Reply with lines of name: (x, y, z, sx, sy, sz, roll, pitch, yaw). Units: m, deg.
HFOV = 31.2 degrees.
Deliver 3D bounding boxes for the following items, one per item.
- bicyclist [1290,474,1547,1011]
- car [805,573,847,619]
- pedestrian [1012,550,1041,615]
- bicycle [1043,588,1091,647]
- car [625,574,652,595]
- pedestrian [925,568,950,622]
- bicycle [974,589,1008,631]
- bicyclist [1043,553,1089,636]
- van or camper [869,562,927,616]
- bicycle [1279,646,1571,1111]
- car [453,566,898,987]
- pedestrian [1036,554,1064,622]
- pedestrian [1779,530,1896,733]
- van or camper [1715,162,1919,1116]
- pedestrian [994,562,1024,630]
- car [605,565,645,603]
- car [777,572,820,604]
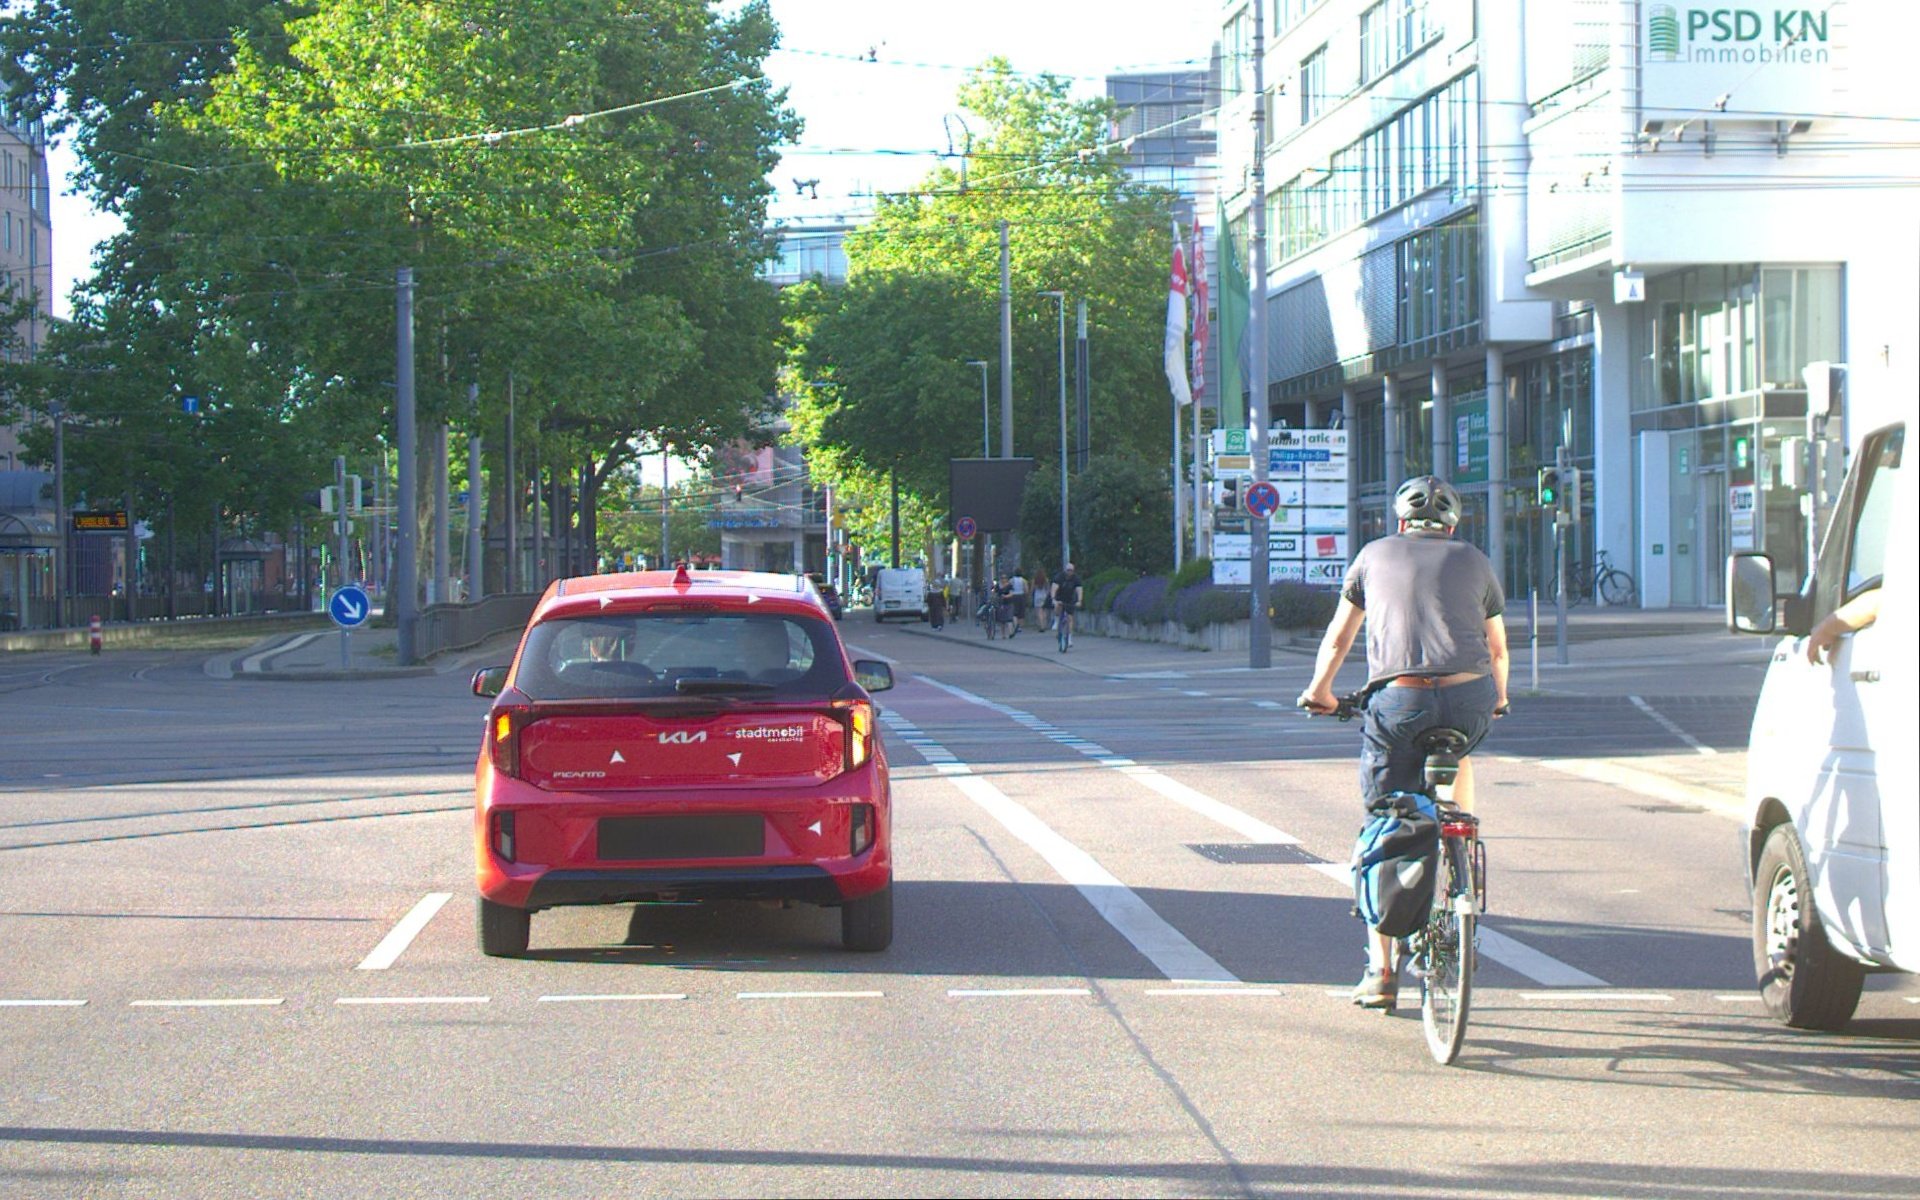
bicyclist: (1.425, 0.421, 10.833, 0.650, 1.597, 1.089, -1, 0, 0)
car: (-5.363, -0.165, 137.683, 1.635, 1.794, 3.330, -1, 1, -2)
pedestrian: (1.782, -0.475, 92.462, 0.564, 1.696, 0.907, -4, 1, -6)
bicycle: (2.136, 0.335, 68.841, 0.696, 1.094, 1.751, -4, 1, -4)
car: (-23.643, -1.115, 252.655, 1.777, 1.529, 3.412, 0, 1, -9)
pedestrian: (-0.671, -0.156, 103.594, 0.642, 1.574, 0.723, -4, 1, -1)
bicycle: (0.773, 0.248, 85.708, 0.520, 0.971, 2.202, -4, 1, -6)
bicyclist: (2.113, -0.115, 68.815, 0.721, 1.597, 1.089, -3, 1, -5)
van or camper: (-2.353, -0.410, 128.749, 1.993, 1.982, 4.745, 0, 0, -3)
bicycle: (1.421, 0.811, 10.817, 0.650, 1.276, 1.966, -1, 1, 0)
car: (-1.160, 0.625, 14.248, 1.613, 1.529, 3.412, 0, 1, -4)
pedestrian: (2.431, -0.334, 93.018, 0.540, 1.790, 0.907, -4, 1, -6)
pedestrian: (8.026, 0.274, 31.478, 0.777, 1.817, 1.216, -1, 0, 2)
van or camper: (3.757, 0.124, 8.799, 1.968, 2.707, 6.305, 0, 1, -3)
pedestrian: (1.220, -0.102, 85.804, 0.646, 1.674, 0.651, -1, 0, -5)
car: (-17.896, -0.862, 183.695, 1.993, 2.007, 4.001, -1, 1, -7)
car: (-8.069, -0.606, 171.841, 1.777, 1.529, 3.513, 0, 1, -9)
